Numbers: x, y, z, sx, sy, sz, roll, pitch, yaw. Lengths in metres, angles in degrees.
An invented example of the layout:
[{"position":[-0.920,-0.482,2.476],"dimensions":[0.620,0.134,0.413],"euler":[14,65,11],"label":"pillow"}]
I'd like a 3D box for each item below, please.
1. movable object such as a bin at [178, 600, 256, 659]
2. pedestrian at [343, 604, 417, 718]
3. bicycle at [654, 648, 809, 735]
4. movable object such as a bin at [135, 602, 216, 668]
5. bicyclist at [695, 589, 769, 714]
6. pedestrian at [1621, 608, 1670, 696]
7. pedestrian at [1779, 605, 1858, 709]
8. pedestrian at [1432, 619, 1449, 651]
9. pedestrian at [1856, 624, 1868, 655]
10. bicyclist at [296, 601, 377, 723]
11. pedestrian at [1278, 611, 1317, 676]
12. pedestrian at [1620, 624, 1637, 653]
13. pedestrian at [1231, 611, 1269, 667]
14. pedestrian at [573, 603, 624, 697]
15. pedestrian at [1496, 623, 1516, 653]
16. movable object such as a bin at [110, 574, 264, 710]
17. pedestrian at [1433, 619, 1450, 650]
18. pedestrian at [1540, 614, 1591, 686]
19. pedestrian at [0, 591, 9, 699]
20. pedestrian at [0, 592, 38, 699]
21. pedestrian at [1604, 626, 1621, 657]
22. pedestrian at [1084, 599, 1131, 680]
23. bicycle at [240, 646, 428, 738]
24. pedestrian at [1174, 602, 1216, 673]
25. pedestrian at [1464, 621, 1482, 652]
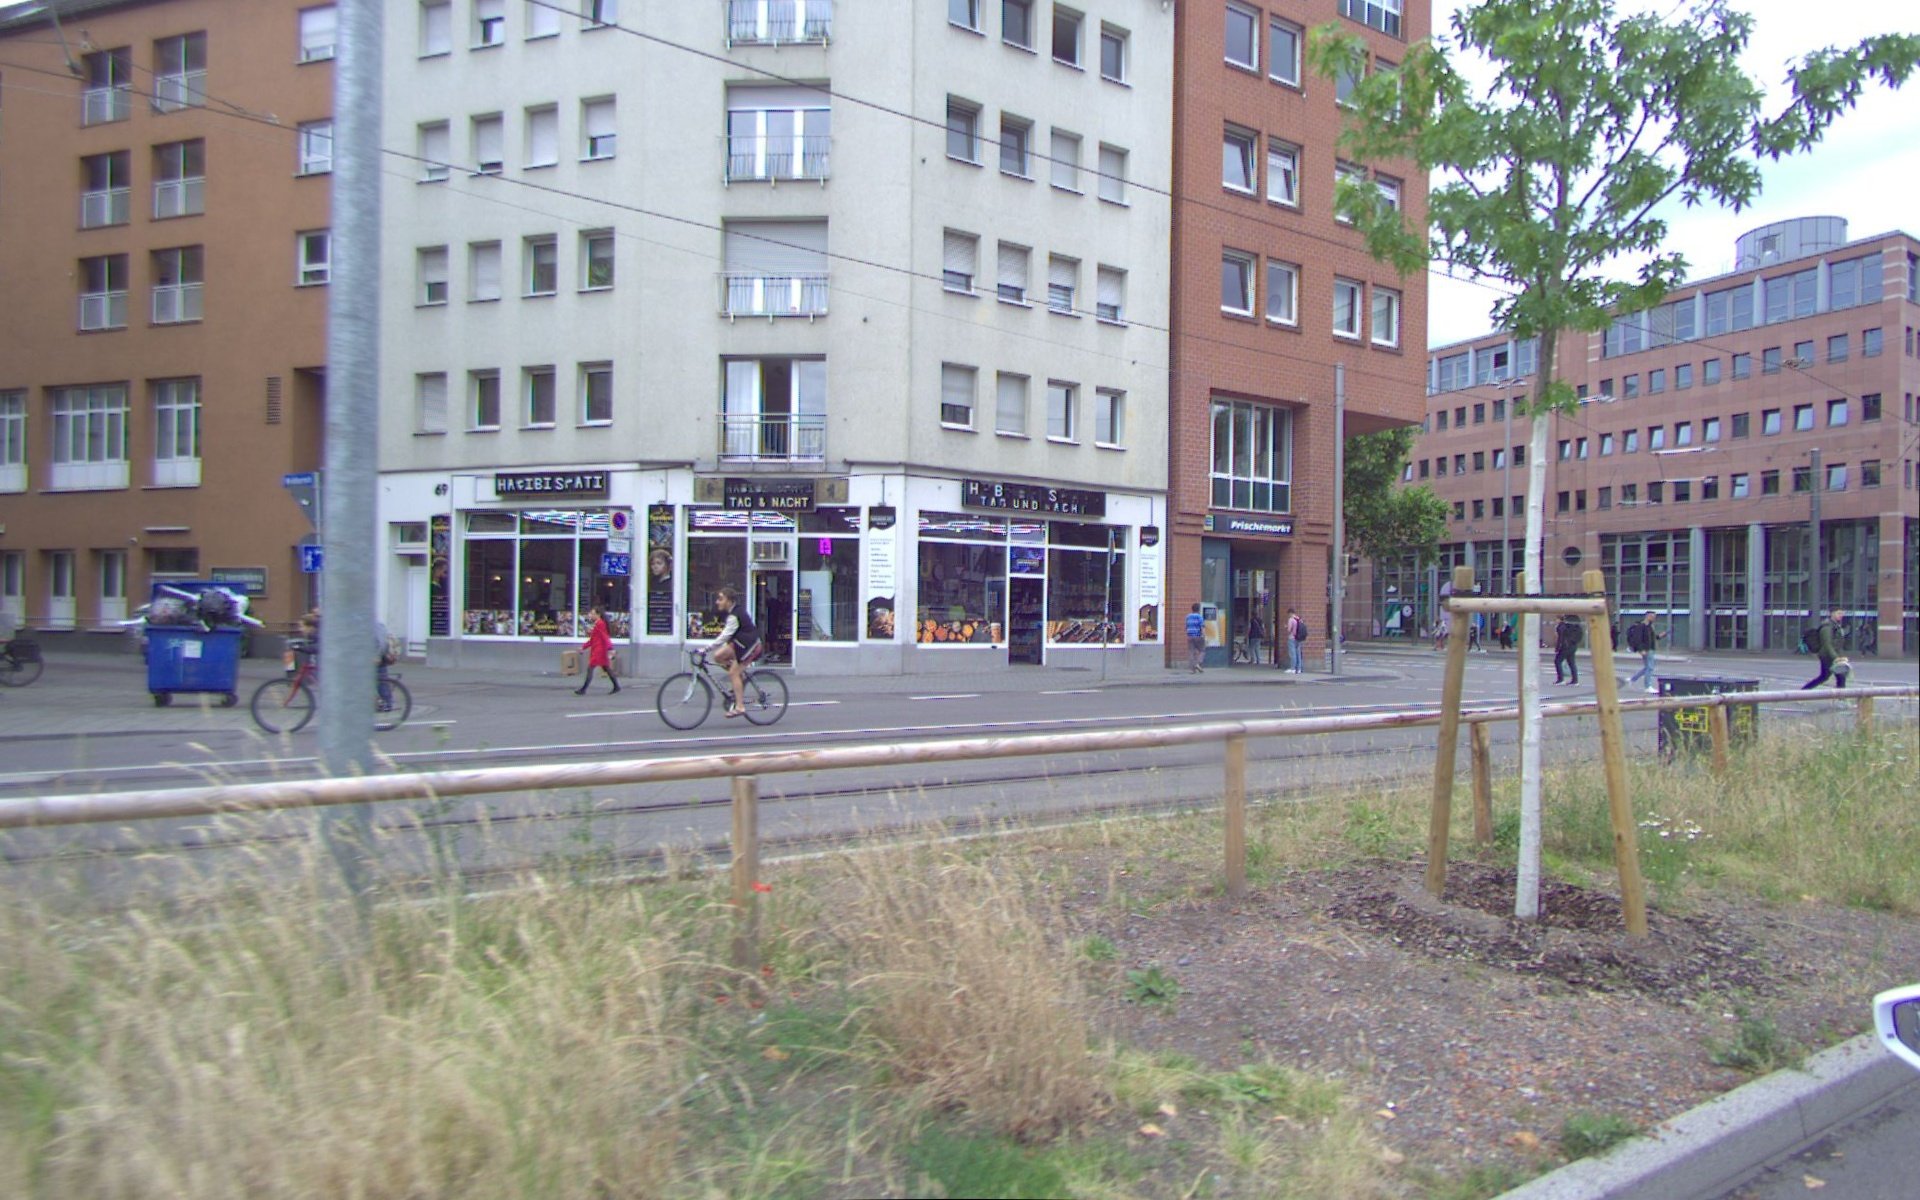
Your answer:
[{"position":[-18.589,0.720,25.148],"dimensions":[1.214,1.424,1.011],"euler":[1,1,12],"label":"movable object such as a bin"},{"position":[-8.984,0.937,15.587],"dimensions":[0.710,1.709,0.823],"euler":[2,-1,-11],"label":"pedestrian"},{"position":[-2.932,1.155,12.972],"dimensions":[1.890,1.034,0.474],"euler":[1,-1,-31],"label":"bicycle"},{"position":[-18.850,0.828,24.150],"dimensions":[1.214,1.521,0.947],"euler":[1,1,12],"label":"movable object such as a bin"},{"position":[-2.940,0.648,12.957],"dimensions":[0.802,1.561,0.489],"euler":[1,-1,-31],"label":"bicyclist"},{"position":[15.350,1.153,22.495],"dimensions":[0.790,1.915,0.607],"euler":[2,-1,-31],"label":"pedestrian"},{"position":[16.465,1.083,19.277],"dimensions":[0.790,1.915,0.892],"euler":[2,1,-31],"label":"pedestrian"},{"position":[25.636,1.872,53.605],"dimensions":[0.624,1.633,0.568],"euler":[3,0,-36],"label":"pedestrian"},{"position":[45.836,2.018,51.041],"dimensions":[0.444,1.552,0.519],"euler":[2,1,43],"label":"pedestrian"},{"position":[-7.548,0.738,12.186],"dimensions":[0.802,1.425,0.476],"euler":[1,-1,-31],"label":"bicyclist"},{"position":[9.050,1.170,26.938],"dimensions":[0.791,1.706,0.565],"euler":[2,1,-33],"label":"pedestrian"},{"position":[37.580,2.138,56.474],"dimensions":[0.732,1.581,0.572],"euler":[2,0,38],"label":"pedestrian"},{"position":[8.992,1.203,31.184],"dimensions":[0.791,1.706,0.739],"euler":[2,1,-33],"label":"pedestrian"},{"position":[-6.770,0.920,18.793],"dimensions":[0.656,1.709,0.714],"euler":[3,-2,-39],"label":"pedestrian"},{"position":[29.075,2.013,53.503],"dimensions":[0.734,1.581,0.571],"euler":[2,0,-24],"label":"pedestrian"},{"position":[-11.969,0.664,15.627],"dimensions":[1.594,2.007,1.029],"euler":[3,-2,-22],"label":"movable object such as a bin"},{"position":[26.066,1.887,54.404],"dimensions":[0.624,1.633,0.568],"euler":[3,0,-36],"label":"pedestrian"},{"position":[14.903,1.213,24.718],"dimensions":[0.791,1.706,0.739],"euler":[2,1,-33],"label":"pedestrian"},{"position":[-15.421,0.694,15.549],"dimensions":[0.710,1.709,0.660],"euler":[2,-1,-14],"label":"pedestrian"},{"position":[-15.682,0.717,16.207],"dimensions":[0.908,1.709,0.660],"euler":[2,-1,-14],"label":"pedestrian"},{"position":[36.560,2.322,56.252],"dimensions":[0.732,1.710,0.572],"euler":[2,0,35],"label":"pedestrian"},{"position":[3.166,0.839,21.557],"dimensions":[0.717,1.709,0.654],"euler":[3,-2,-41],"label":"pedestrian"},{"position":[-7.530,1.082,12.175],"dimensions":[1.890,1.034,0.477],"euler":[1,-1,-31],"label":"bicycle"},{"position":[5.727,0.908,24.460],"dimensions":[0.716,1.709,0.655],"euler":[3,-2,-38],"label":"pedestrian"},{"position":[26.833,1.928,52.516],"dimensions":[0.624,1.595,0.568],"euler":[3,0,-36],"label":"pedestrian"}]
